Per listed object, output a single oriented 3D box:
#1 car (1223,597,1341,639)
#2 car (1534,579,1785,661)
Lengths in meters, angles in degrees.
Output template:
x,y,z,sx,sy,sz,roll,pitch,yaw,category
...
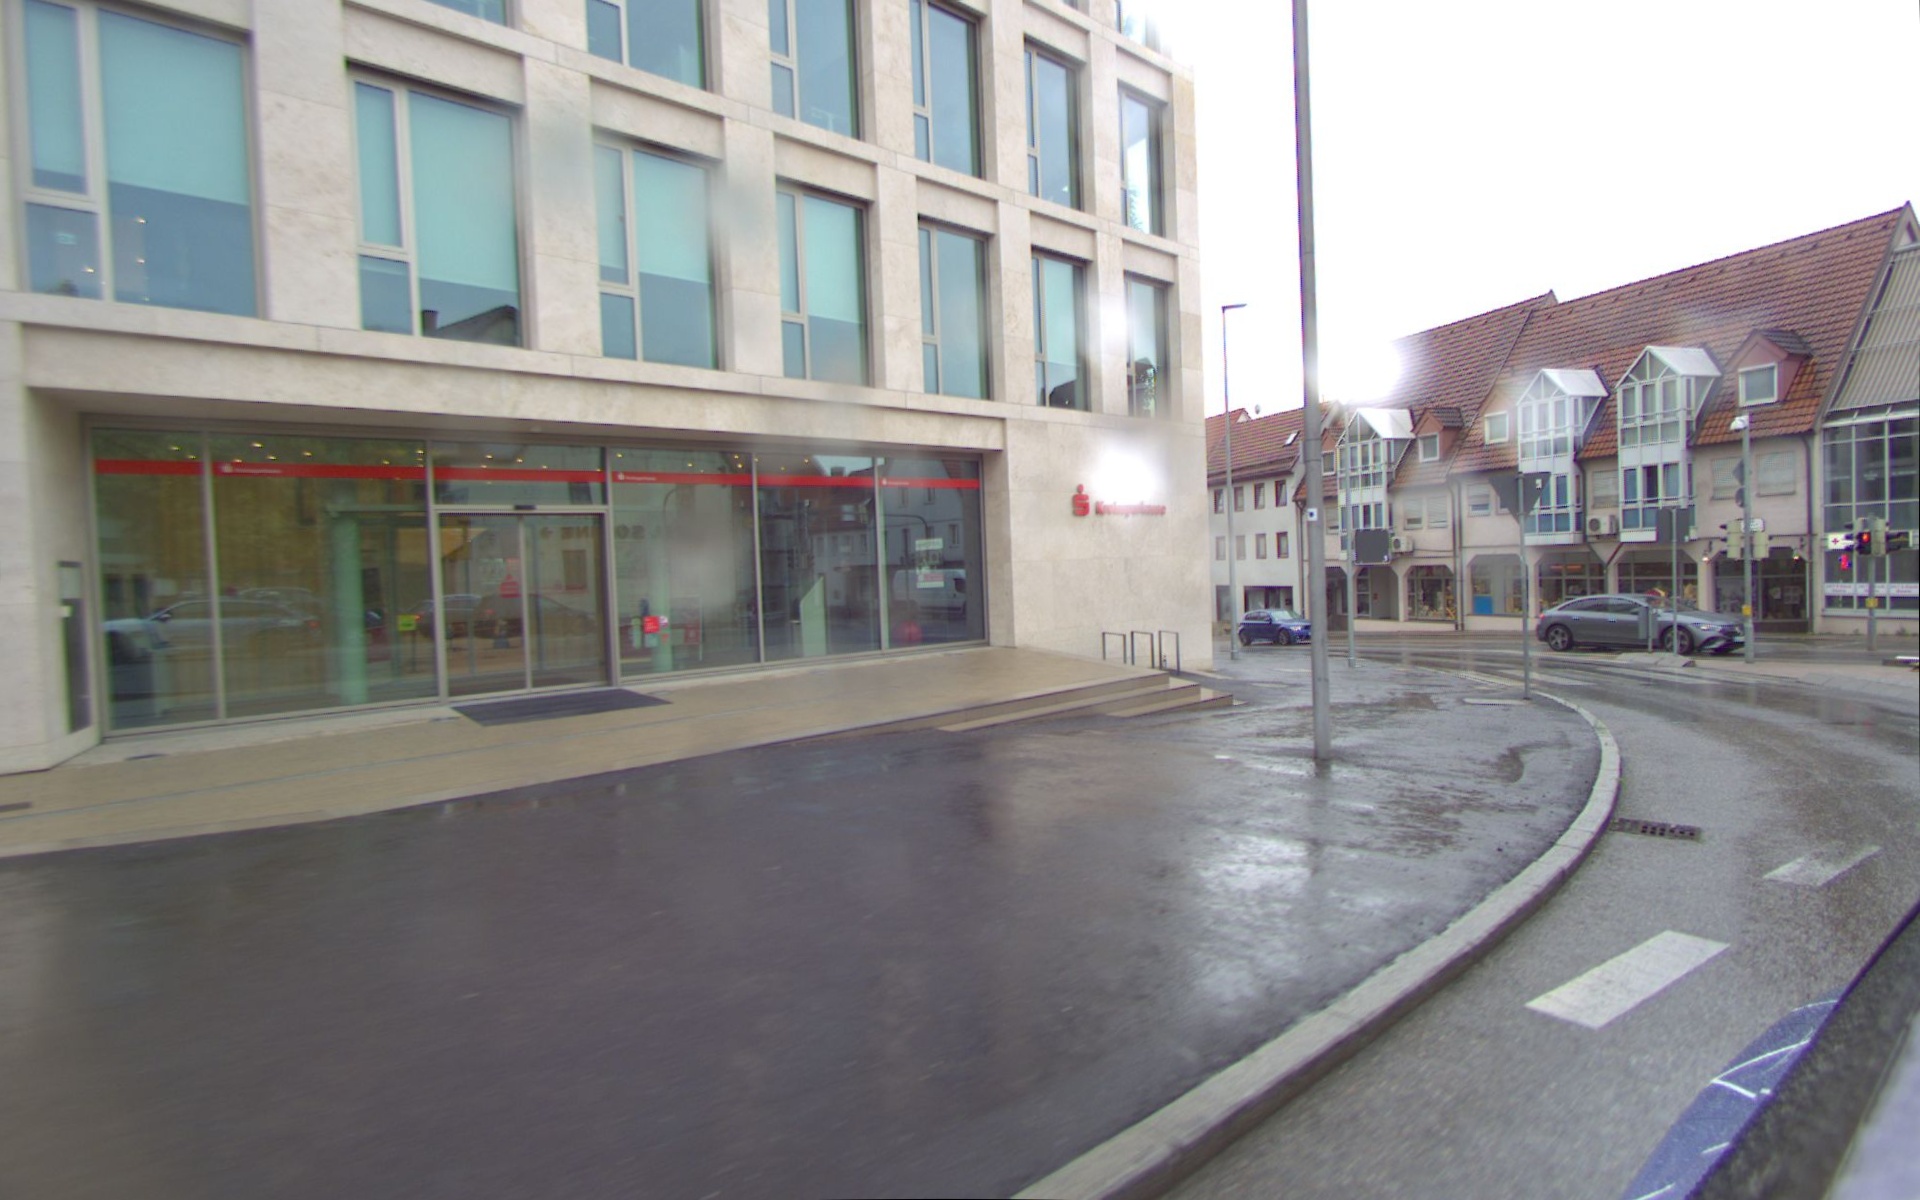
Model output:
x,y,z,sx,sy,sz,roll,pitch,yaw,category
12.909,0.664,40.933,1.958,1.565,5.043,0,0,-18,car
17.675,0.431,25.922,1.958,1.868,5.043,0,0,-22,car
